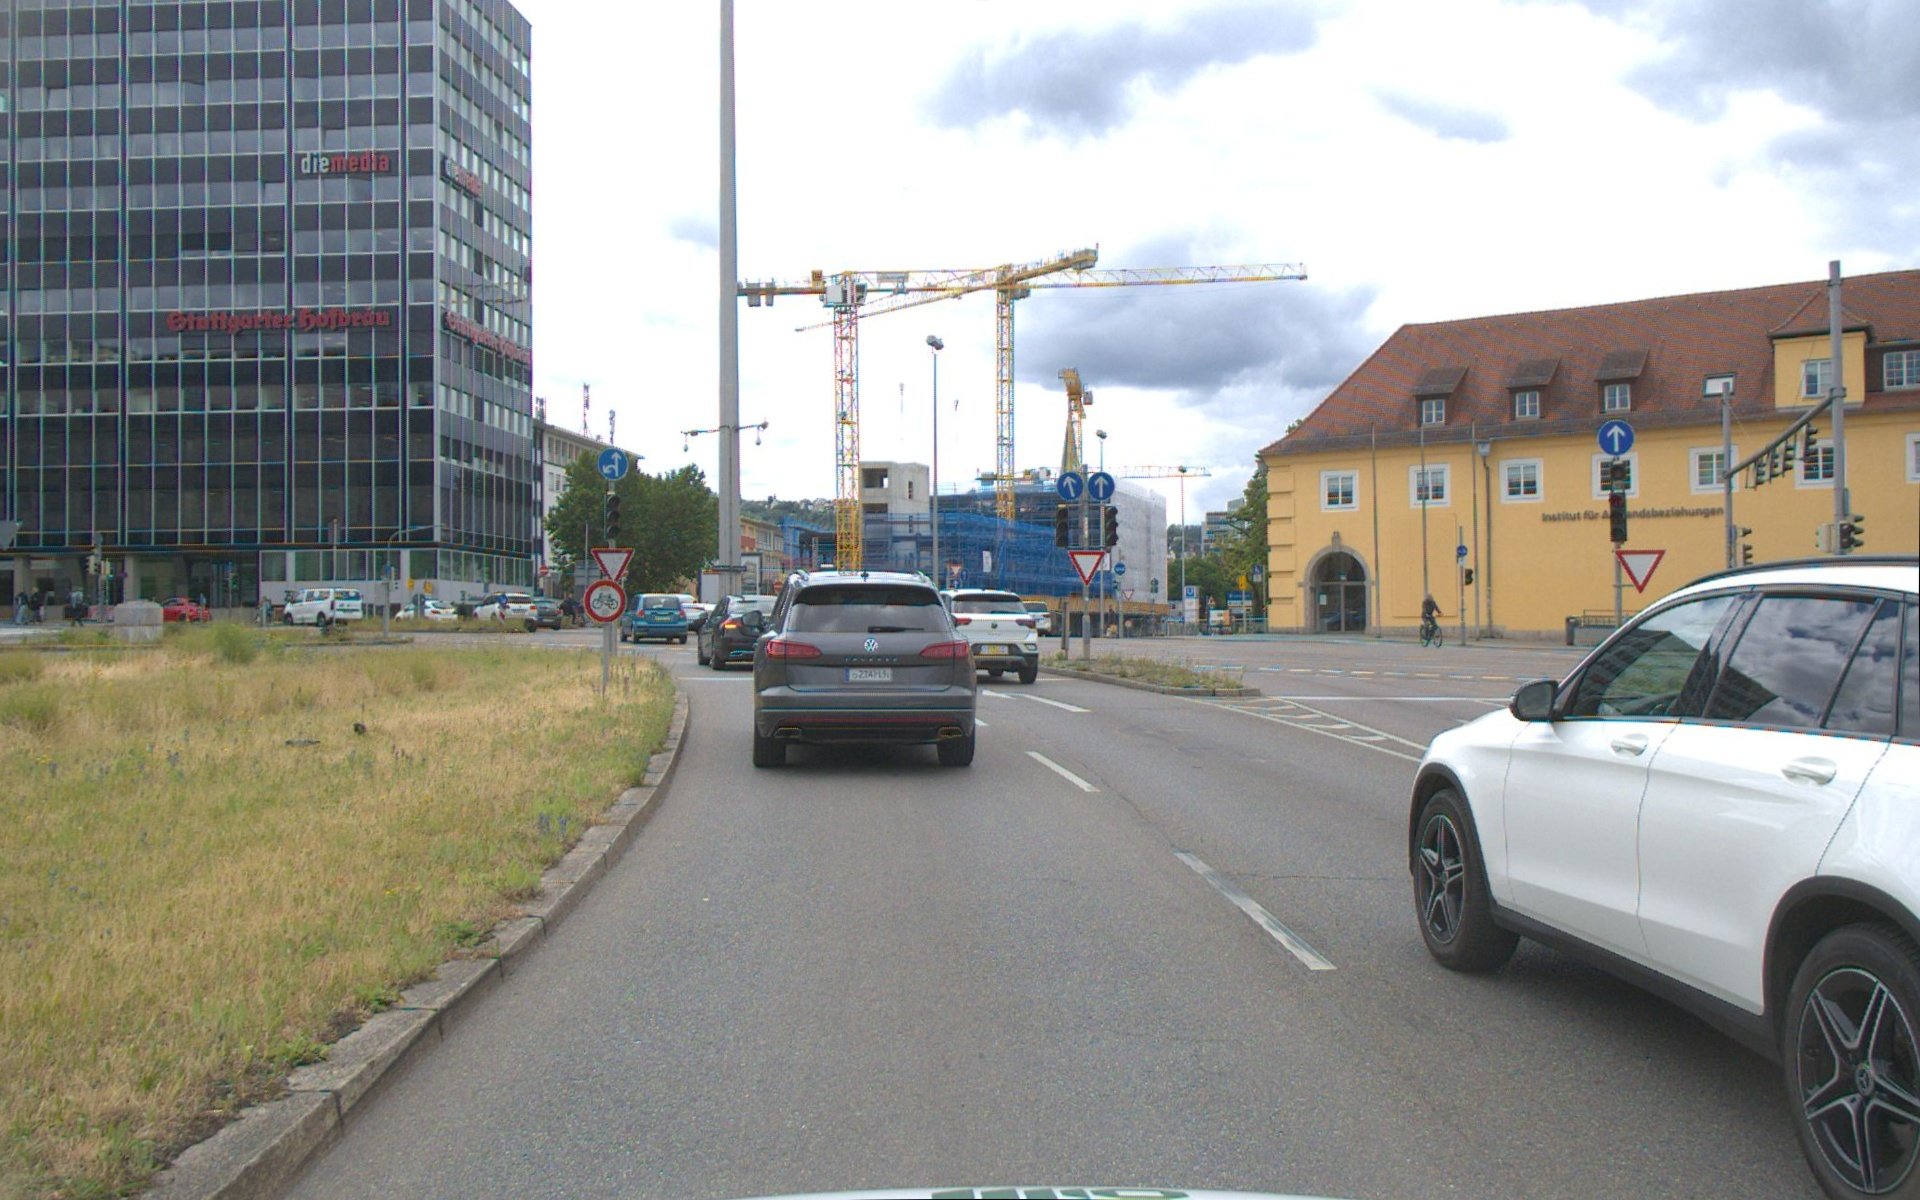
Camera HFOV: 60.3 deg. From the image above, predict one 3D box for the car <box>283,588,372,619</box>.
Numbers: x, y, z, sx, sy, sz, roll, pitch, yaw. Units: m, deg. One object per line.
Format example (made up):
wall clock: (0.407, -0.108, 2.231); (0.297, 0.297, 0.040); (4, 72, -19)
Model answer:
car: (-32.891, 0.162, 85.944); (4.519, 1.529, 2.243); (1, 1, 36)

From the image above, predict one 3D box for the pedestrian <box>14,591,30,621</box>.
pedestrian: (-44.006, 0.281, 77.600); (0.532, 1.420, 0.645); (1, 0, -40)

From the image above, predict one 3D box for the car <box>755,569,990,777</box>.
car: (-0.949, 0.566, 15.407); (1.896, 1.676, 3.994); (0, 1, -7)

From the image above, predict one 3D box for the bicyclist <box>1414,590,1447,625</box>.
bicyclist: (16.158, 0.270, 56.791); (0.905, 1.179, 0.725); (1, 0, -4)

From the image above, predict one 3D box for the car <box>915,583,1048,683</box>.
car: (0.307, 0.528, 29.082); (1.857, 1.613, 3.795); (0, 1, -7)

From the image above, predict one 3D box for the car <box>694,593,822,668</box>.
car: (-4.057, 0.563, 32.673); (1.765, 1.380, 4.049); (0, 0, -18)

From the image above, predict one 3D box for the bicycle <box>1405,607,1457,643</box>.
bicycle: (16.148, 0.851, 56.793); (0.905, 1.179, 2.463); (1, 0, -4)

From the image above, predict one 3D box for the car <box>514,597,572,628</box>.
car: (-19.917, 0.576, 78.875); (1.625, 1.421, 3.556); (0, 0, -33)

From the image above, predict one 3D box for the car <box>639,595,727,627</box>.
car: (-10.578, 0.389, 62.946); (1.658, 1.159, 4.016); (0, 0, -37)

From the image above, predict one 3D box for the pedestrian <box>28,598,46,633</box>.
pedestrian: (-43.499, 0.717, 77.977); (0.618, 1.621, 0.582); (1, 0, -40)

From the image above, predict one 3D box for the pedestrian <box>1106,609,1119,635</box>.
pedestrian: (7.788, 1.109, 84.349); (0.537, 1.304, 0.463); (1, 0, 16)

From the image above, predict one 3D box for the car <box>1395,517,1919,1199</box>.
car: (3.001, 0.632, 5.295); (1.783, 1.676, 4.375); (0, 1, -4)

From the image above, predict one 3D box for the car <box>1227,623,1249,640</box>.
car: (35.256, 3.976, 209.763); (1.954, 2.049, 3.997); (0, 0, -4)

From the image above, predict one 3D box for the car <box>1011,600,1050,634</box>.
car: (3.323, 0.789, 77.133); (1.765, 1.529, 3.982); (0, 0, 3)

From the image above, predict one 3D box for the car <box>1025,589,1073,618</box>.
car: (5.447, 0.212, 100.981); (1.946, 1.696, 3.983); (0, 0, 18)

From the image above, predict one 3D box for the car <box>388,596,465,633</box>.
car: (-27.885, 0.746, 86.461); (3.921, 1.638, 1.893); (3, 5, 36)

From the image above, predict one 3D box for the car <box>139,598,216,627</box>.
car: (-43.310, 0.683, 91.524); (3.888, 1.529, 1.724); (1, 0, 24)

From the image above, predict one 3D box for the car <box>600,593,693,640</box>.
car: (-9.575, 0.478, 50.378); (1.771, 1.380, 4.035); (0, 0, -27)

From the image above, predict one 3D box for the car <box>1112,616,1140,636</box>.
car: (13.291, 2.072, 132.123); (1.764, 1.529, 3.984); (0, 0, 12)

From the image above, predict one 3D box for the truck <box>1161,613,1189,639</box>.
truck: (21.134, 2.559, 162.761); (2.083, 2.496, 4.831); (0, 0, 15)

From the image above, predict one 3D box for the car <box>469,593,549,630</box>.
car: (-19.575, 0.464, 71.689); (1.805, 1.522, 3.845); (0, 1, -43)
